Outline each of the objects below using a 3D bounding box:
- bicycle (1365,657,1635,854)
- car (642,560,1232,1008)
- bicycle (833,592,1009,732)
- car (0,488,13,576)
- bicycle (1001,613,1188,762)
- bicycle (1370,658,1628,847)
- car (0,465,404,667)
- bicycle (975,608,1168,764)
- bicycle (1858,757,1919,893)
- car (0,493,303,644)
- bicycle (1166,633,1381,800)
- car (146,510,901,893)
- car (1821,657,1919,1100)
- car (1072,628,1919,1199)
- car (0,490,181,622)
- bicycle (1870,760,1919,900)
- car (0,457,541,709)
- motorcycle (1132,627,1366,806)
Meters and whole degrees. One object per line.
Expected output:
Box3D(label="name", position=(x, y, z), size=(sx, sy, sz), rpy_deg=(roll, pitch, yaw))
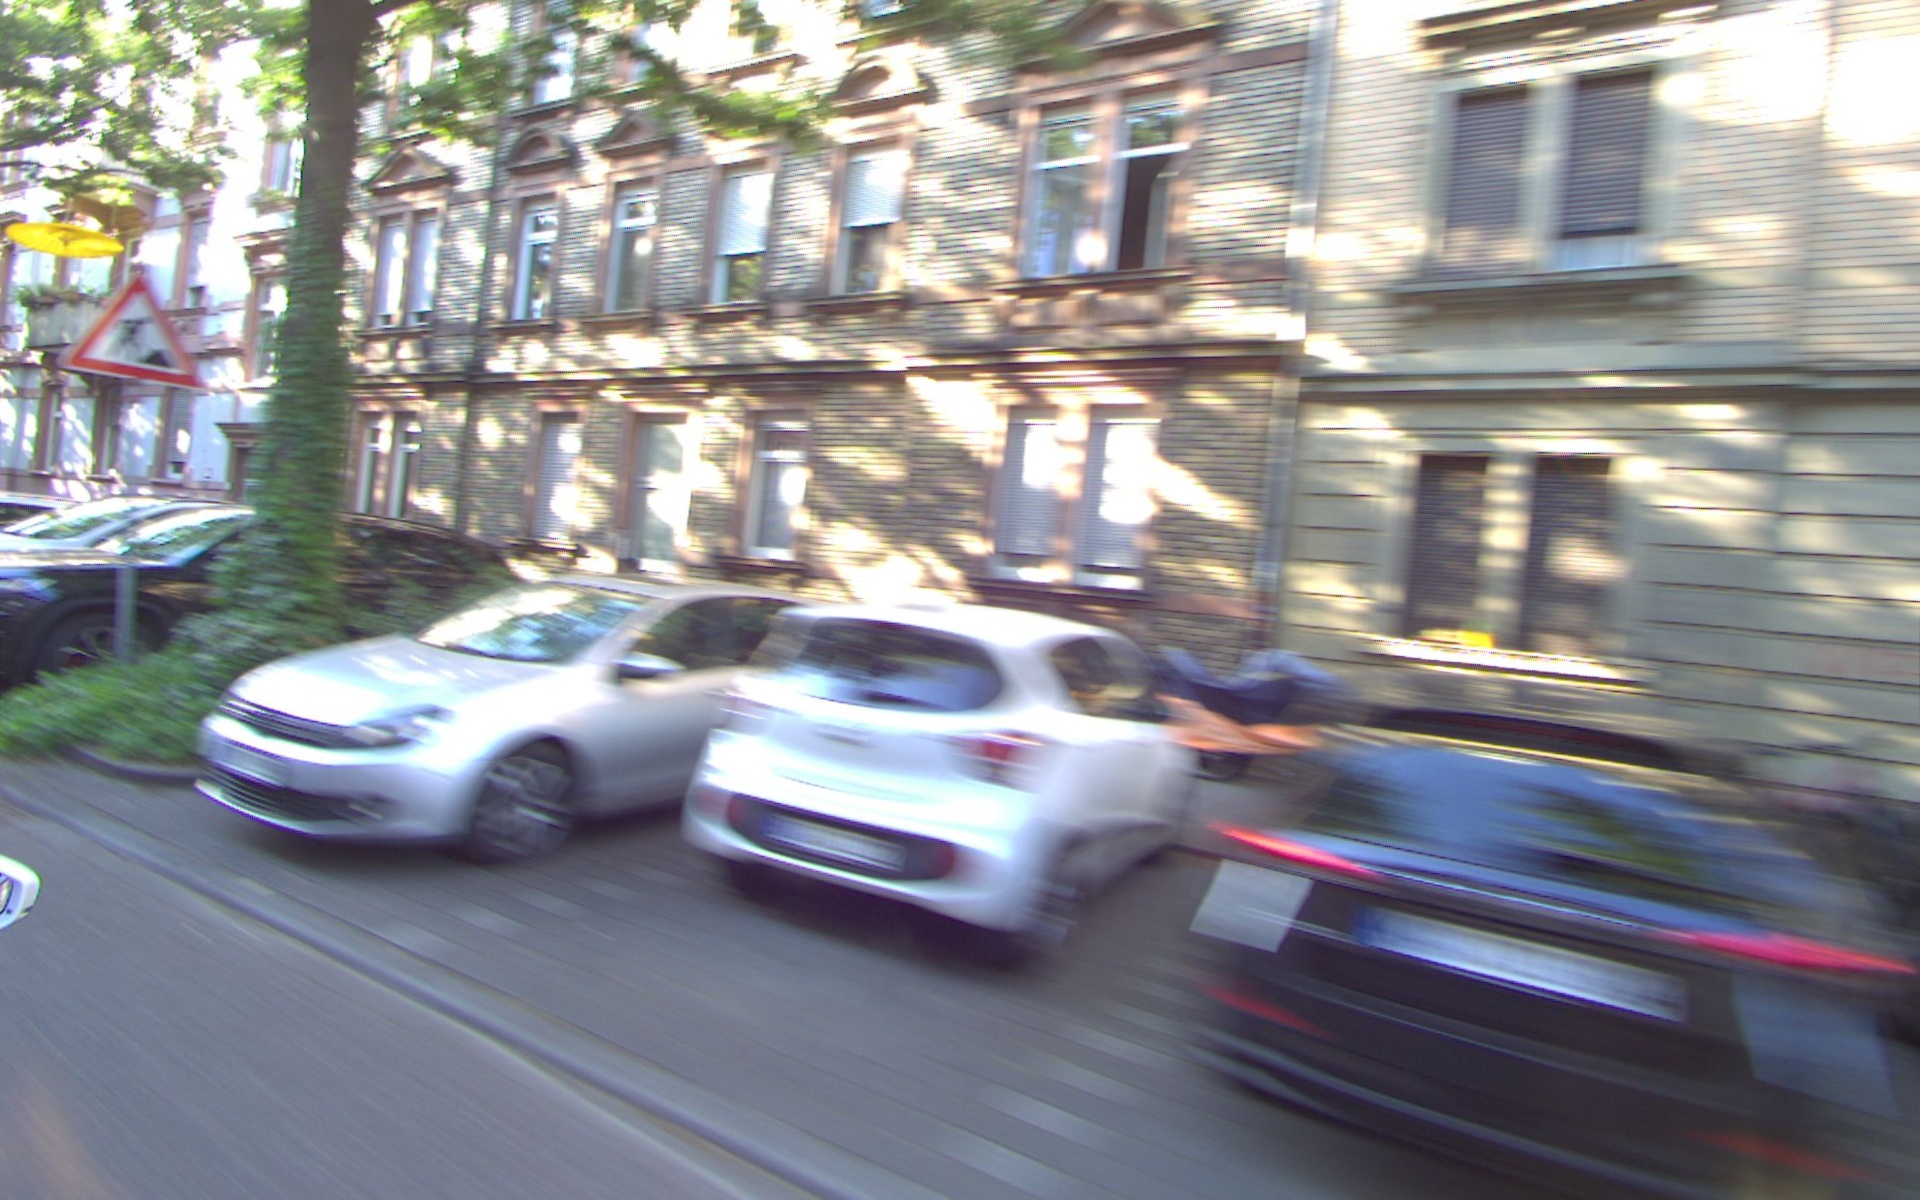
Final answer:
Box3D(label="bicycle", position=(4.535, 1.272, 8.566), size=(1.851, 1.335, 0.368), rpy_deg=(7, 0, 28))
Box3D(label="car", position=(0.283, 0.808, 5.864), size=(1.657, 1.513, 3.997), rpy_deg=(7, -1, 26))
Box3D(label="bicycle", position=(-0.463, 0.683, 11.507), size=(1.851, 1.335, 0.535), rpy_deg=(7, 0, 28))
Box3D(label="car", position=(-16.922, -1.214, 14.816), size=(1.649, 1.406, 3.990), rpy_deg=(7, 2, 28))
Box3D(label="bicycle", position=(1.426, 0.915, 10.879), size=(1.851, 1.335, 0.368), rpy_deg=(7, 0, 28))
Box3D(label="bicycle", position=(4.734, 1.301, 8.942), size=(1.851, 1.335, 0.368), rpy_deg=(7, 0, 28))
Box3D(label="car", position=(-8.509, -0.292, 10.354), size=(1.859, 1.675, 4.487), rpy_deg=(5, -2, 28))
Box3D(label="bicycle", position=(1.130, 0.862, 10.459), size=(1.851, 1.335, 0.375), rpy_deg=(7, 0, 28))
Box3D(label="bicycle", position=(7.835, 1.812, 7.618), size=(1.431, 0.979, 0.283), rpy_deg=(7, 0, 30))
Box3D(label="car", position=(-10.586, -0.413, 12.051), size=(1.770, 1.487, 4.108), rpy_deg=(7, -1, 30))
Box3D(label="bicycle", position=(3.064, 1.106, 9.913), size=(1.851, 1.335, 0.368), rpy_deg=(7, 0, 28))
Box3D(label="car", position=(-2.209, 0.532, 6.231), size=(1.658, 1.474, 3.995), rpy_deg=(7, -1, 30))
Box3D(label="car", position=(4.585, 1.172, 3.218), size=(1.912, 1.810, 4.132), rpy_deg=(7, -1, 31))
Box3D(label="car", position=(2.195, 0.998, 4.274), size=(1.903, 1.474, 4.151), rpy_deg=(7, 1, 28))
Box3D(label="car", position=(-12.879, -0.704, 12.821), size=(1.769, 1.554, 4.234), rpy_deg=(7, -1, 26))
Box3D(label="bicycle", position=(7.644, 1.784, 7.279), size=(1.431, 0.979, 0.396), rpy_deg=(7, 0, 30))
Box3D(label="car", position=(-6.265, -0.023, 8.804), size=(1.860, 1.675, 4.484), rpy_deg=(5, -2, 31))
Box3D(label="motorcycle", position=(2.683, 1.037, 9.389), size=(1.851, 1.335, 0.764), rpy_deg=(7, 0, 28))
